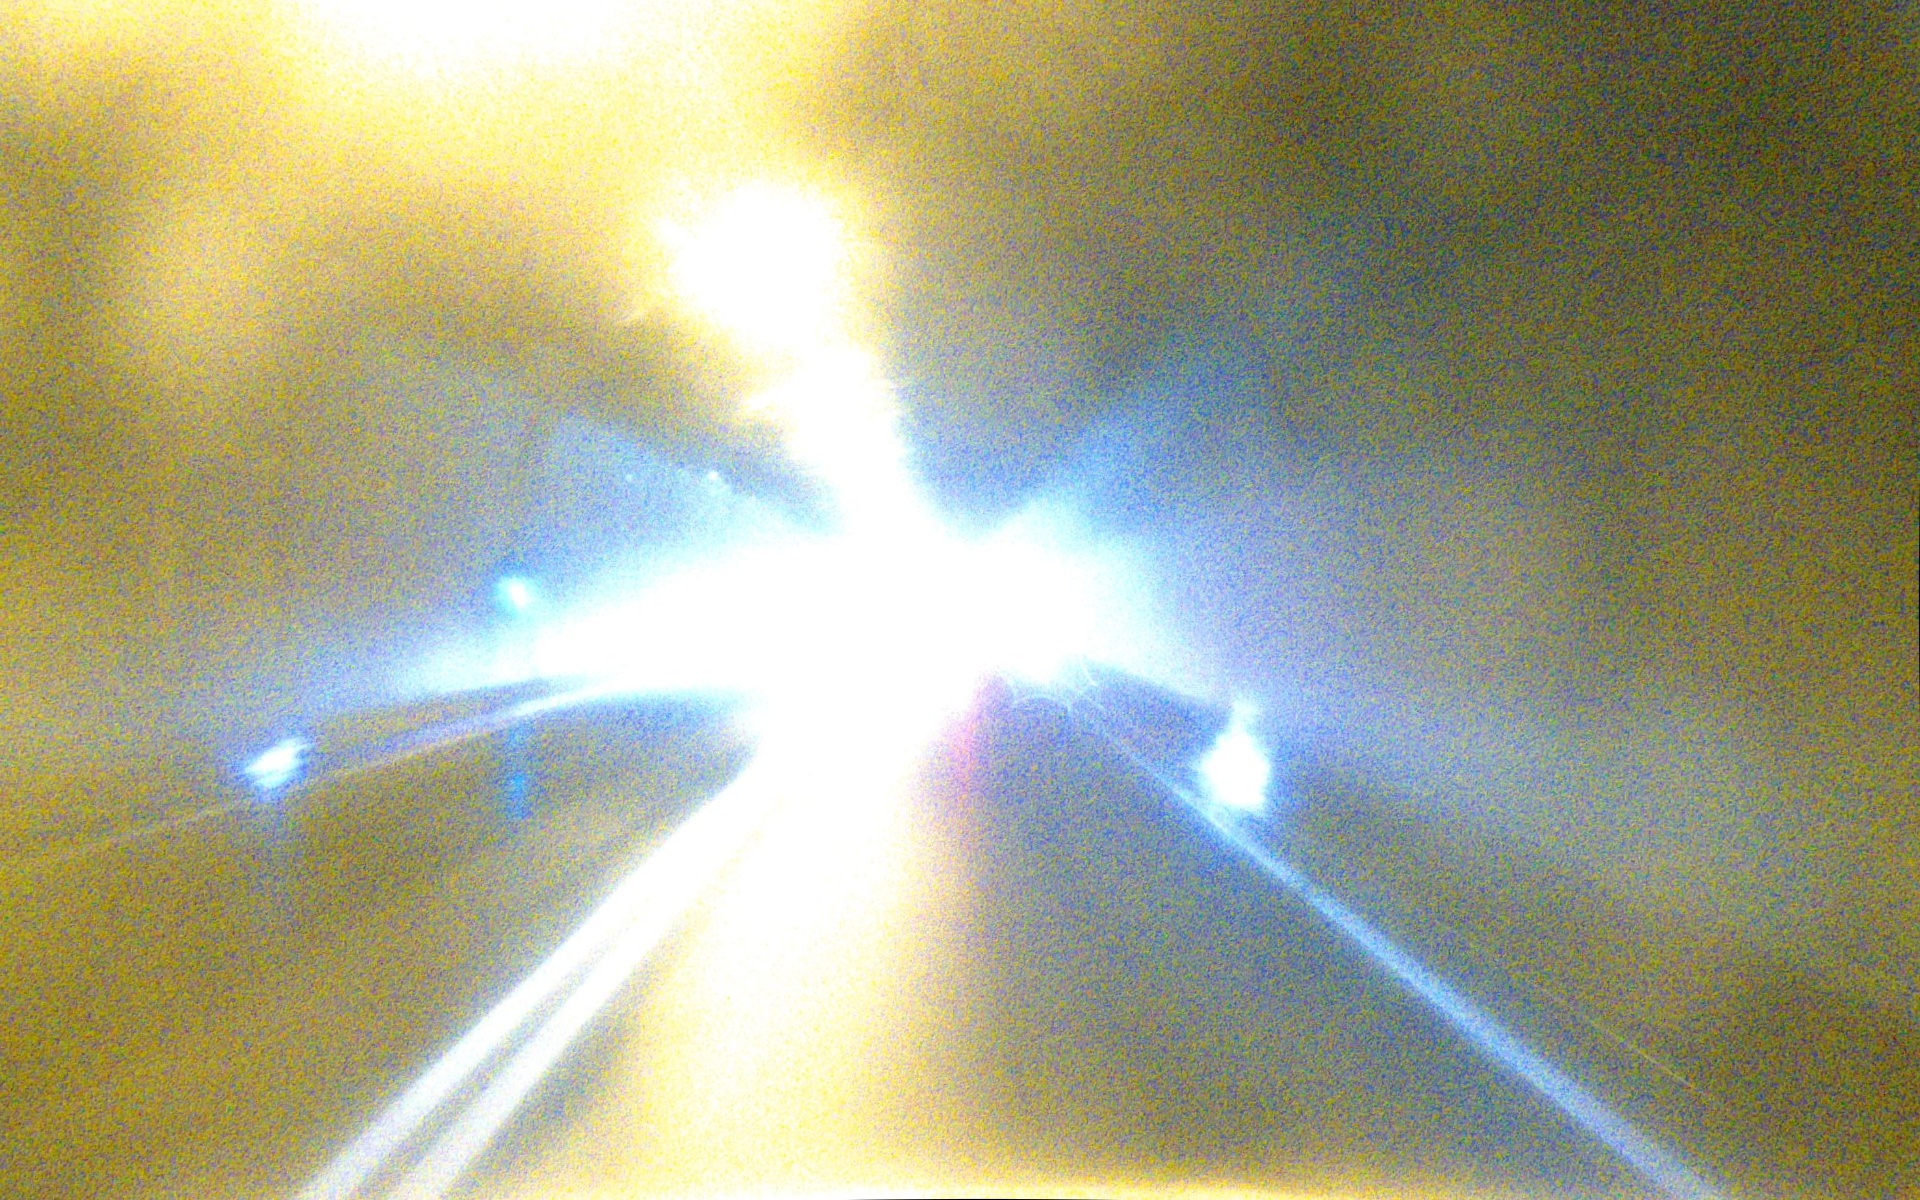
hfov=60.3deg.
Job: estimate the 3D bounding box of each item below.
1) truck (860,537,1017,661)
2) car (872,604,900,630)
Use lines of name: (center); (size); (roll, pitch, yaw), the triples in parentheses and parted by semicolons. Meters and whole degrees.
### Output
truck: (-0.517, -0.030, 41.039); (3.463, 2.740, 8.954); (0, 0, -1)
car: (-4.905, 1.126, 109.730); (1.713, 1.612, 3.999); (1, 0, -1)
